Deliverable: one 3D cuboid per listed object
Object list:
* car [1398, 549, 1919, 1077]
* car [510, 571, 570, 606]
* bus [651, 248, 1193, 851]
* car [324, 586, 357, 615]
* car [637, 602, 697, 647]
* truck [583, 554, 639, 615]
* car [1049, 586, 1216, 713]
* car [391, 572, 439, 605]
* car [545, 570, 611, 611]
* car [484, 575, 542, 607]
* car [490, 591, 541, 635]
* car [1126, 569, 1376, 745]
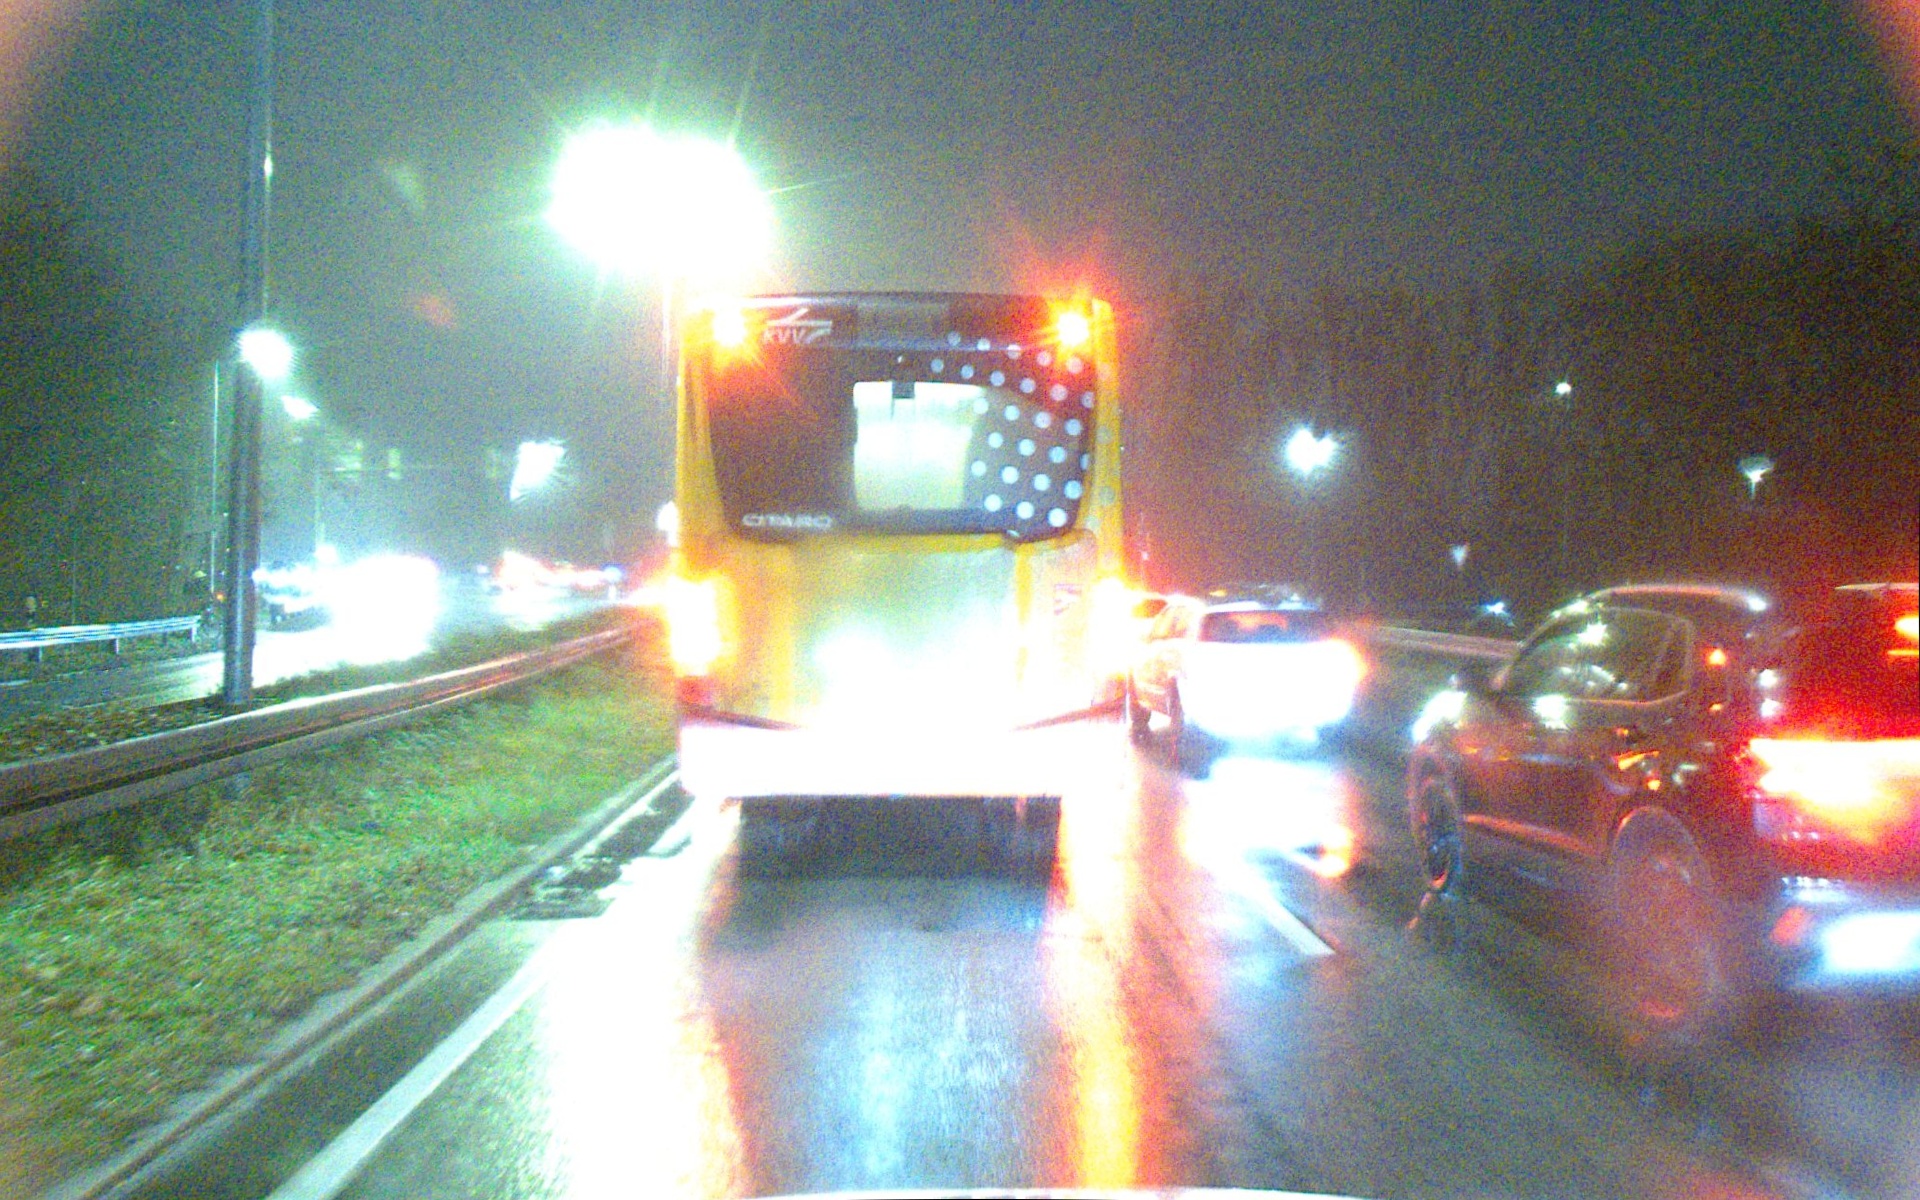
[{"bbox_3d":[3.281,0.663,6.939,1.704,1.592,3.775,2,0,-3],"label":"car"},{"bbox_3d":[-24.829,-0.674,97.638,1.981,2.049,3.943,0,0,-39],"label":"car"},{"bbox_3d":[-0.270,-0.269,13.007,2.758,3.077,8.685,2,0,-1],"label":"bus"},{"bbox_3d":[-36.232,0.013,96.734,1.761,1.675,3.974,0,0,-21],"label":"car"},{"bbox_3d":[-10.315,0.848,58.509,1.956,1.512,3.992,0,0,-8],"label":"car"},{"bbox_3d":[-15.159,-0.723,71.725,1.828,2.434,4.754,-1,3,-19],"label":"truck"},{"bbox_3d":[2.324,0.632,23.140,1.783,1.618,3.775,0,0,-3],"label":"car"},{"bbox_3d":[-34.764,-0.706,105.395,2.187,2.049,3.961,1,0,-29],"label":"car"},{"bbox_3d":[-19.533,-0.497,84.456,1.977,2.049,3.951,1,0,-35],"label":"car"},{"bbox_3d":[-24.579,-0.507,90.907,1.740,1.659,3.571,3,-1,-40],"label":"car"},{"bbox_3d":[-21.277,0.621,79.111,1.965,2.049,3.975,1,0,-21],"label":"car"},{"bbox_3d":[2.879,0.521,17.172,1.783,1.618,3.775,0,0,-3],"label":"car"}]
